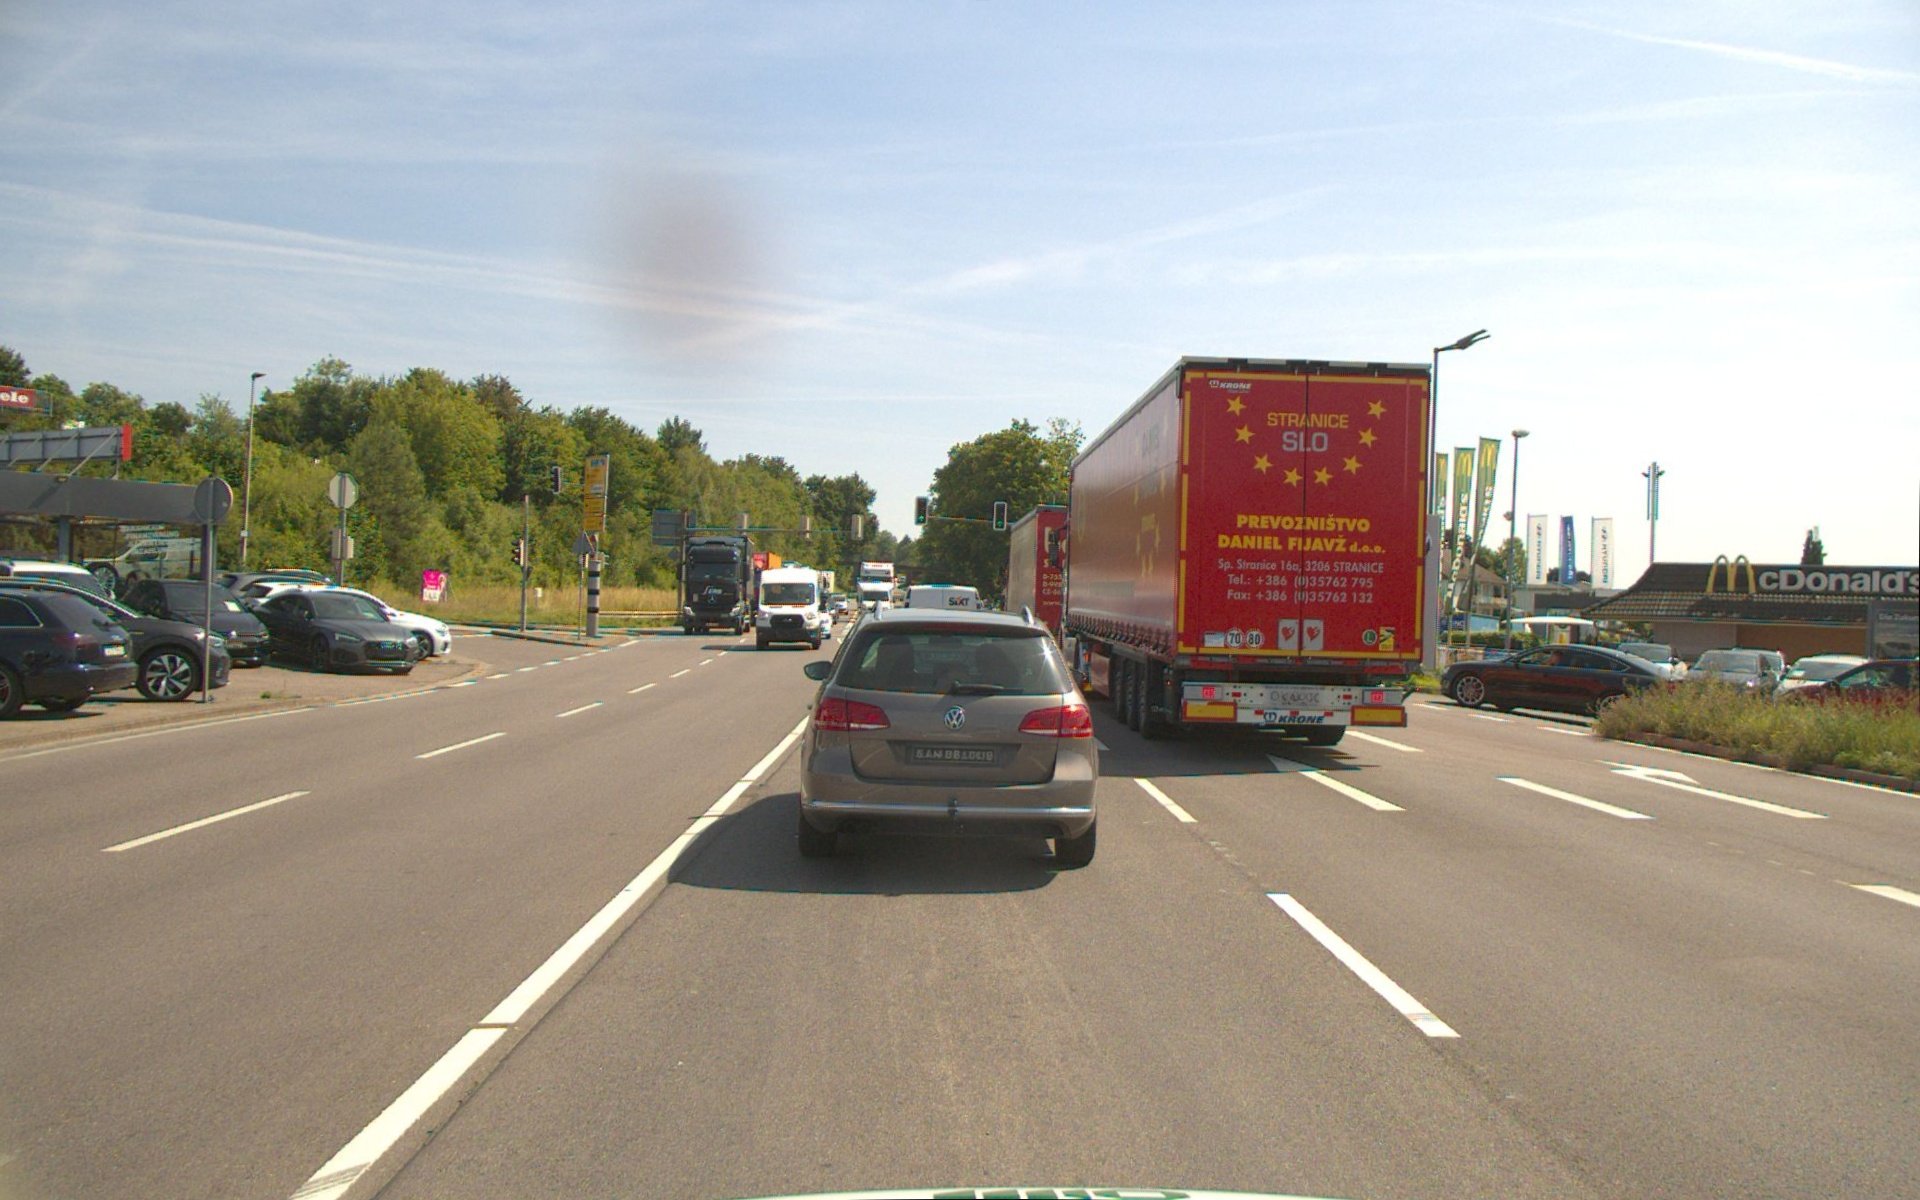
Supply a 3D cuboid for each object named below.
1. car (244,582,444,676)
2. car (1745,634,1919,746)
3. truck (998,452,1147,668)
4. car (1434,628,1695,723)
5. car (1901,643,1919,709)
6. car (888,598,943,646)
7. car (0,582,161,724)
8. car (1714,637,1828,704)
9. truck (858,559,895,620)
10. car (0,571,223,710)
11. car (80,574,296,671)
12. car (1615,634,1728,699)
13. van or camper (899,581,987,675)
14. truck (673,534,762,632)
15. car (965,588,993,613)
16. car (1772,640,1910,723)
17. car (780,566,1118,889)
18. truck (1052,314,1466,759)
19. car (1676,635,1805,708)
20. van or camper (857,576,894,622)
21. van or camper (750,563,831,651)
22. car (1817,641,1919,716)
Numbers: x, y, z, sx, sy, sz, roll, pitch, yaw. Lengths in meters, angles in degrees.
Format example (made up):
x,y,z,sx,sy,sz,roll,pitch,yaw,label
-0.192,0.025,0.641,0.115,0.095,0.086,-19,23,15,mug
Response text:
x,y,z,sx,sy,sz,roll,pitch,yaw,label
-12.235,0.532,32.702,2.115,1.723,4.455,1,0,-44,car
14.465,1.370,25.382,1.972,1.558,3.961,2,0,-29,car
2.993,-0.997,49.735,3.000,5.312,17.003,1,0,-1,truck
11.043,1.334,30.371,4.126,1.480,1.836,2,0,42,car
24.470,1.869,40.559,1.657,1.558,3.574,1,0,42,car
-1.496,0.747,56.493,1.691,1.545,3.312,1,-1,1,car
-11.602,0.582,19.202,3.739,1.566,1.842,0,0,-2,car
20.604,1.748,41.973,1.734,1.558,3.245,1,0,43,car
-6.212,-0.776,124.398,2.501,4.383,7.594,0,0,-1,truck
-11.781,0.493,21.287,3.739,1.705,1.842,0,0,-2,car
-14.543,0.387,31.140,3.744,1.723,1.840,0,0,29,car
18.600,1.704,43.161,1.734,1.558,3.245,1,0,43,car
-0.391,0.588,36.805,1.815,1.939,3.783,1,0,-1,van or camper
-9.990,-0.682,68.738,2.756,3.852,6.988,-1,0,-1,truck
1.225,0.064,109.326,1.692,1.545,3.311,2,-1,-1,car
18.186,1.630,34.090,1.657,1.558,3.574,1,0,42,car
0.015,0.671,10.374,1.753,1.667,3.504,0,0,2,car
3.430,-0.627,24.704,2.897,4.344,16.580,1,0,-1,truck
18.263,1.634,38.629,1.738,1.558,3.607,1,0,42,car
-5.575,-0.006,109.464,2.179,2.890,5.709,1,-1,-1,van or camper
-5.267,0.212,51.923,2.129,2.596,4.169,1,0,-1,van or camper
20.923,1.747,37.634,1.657,1.558,3.574,1,0,42,car
